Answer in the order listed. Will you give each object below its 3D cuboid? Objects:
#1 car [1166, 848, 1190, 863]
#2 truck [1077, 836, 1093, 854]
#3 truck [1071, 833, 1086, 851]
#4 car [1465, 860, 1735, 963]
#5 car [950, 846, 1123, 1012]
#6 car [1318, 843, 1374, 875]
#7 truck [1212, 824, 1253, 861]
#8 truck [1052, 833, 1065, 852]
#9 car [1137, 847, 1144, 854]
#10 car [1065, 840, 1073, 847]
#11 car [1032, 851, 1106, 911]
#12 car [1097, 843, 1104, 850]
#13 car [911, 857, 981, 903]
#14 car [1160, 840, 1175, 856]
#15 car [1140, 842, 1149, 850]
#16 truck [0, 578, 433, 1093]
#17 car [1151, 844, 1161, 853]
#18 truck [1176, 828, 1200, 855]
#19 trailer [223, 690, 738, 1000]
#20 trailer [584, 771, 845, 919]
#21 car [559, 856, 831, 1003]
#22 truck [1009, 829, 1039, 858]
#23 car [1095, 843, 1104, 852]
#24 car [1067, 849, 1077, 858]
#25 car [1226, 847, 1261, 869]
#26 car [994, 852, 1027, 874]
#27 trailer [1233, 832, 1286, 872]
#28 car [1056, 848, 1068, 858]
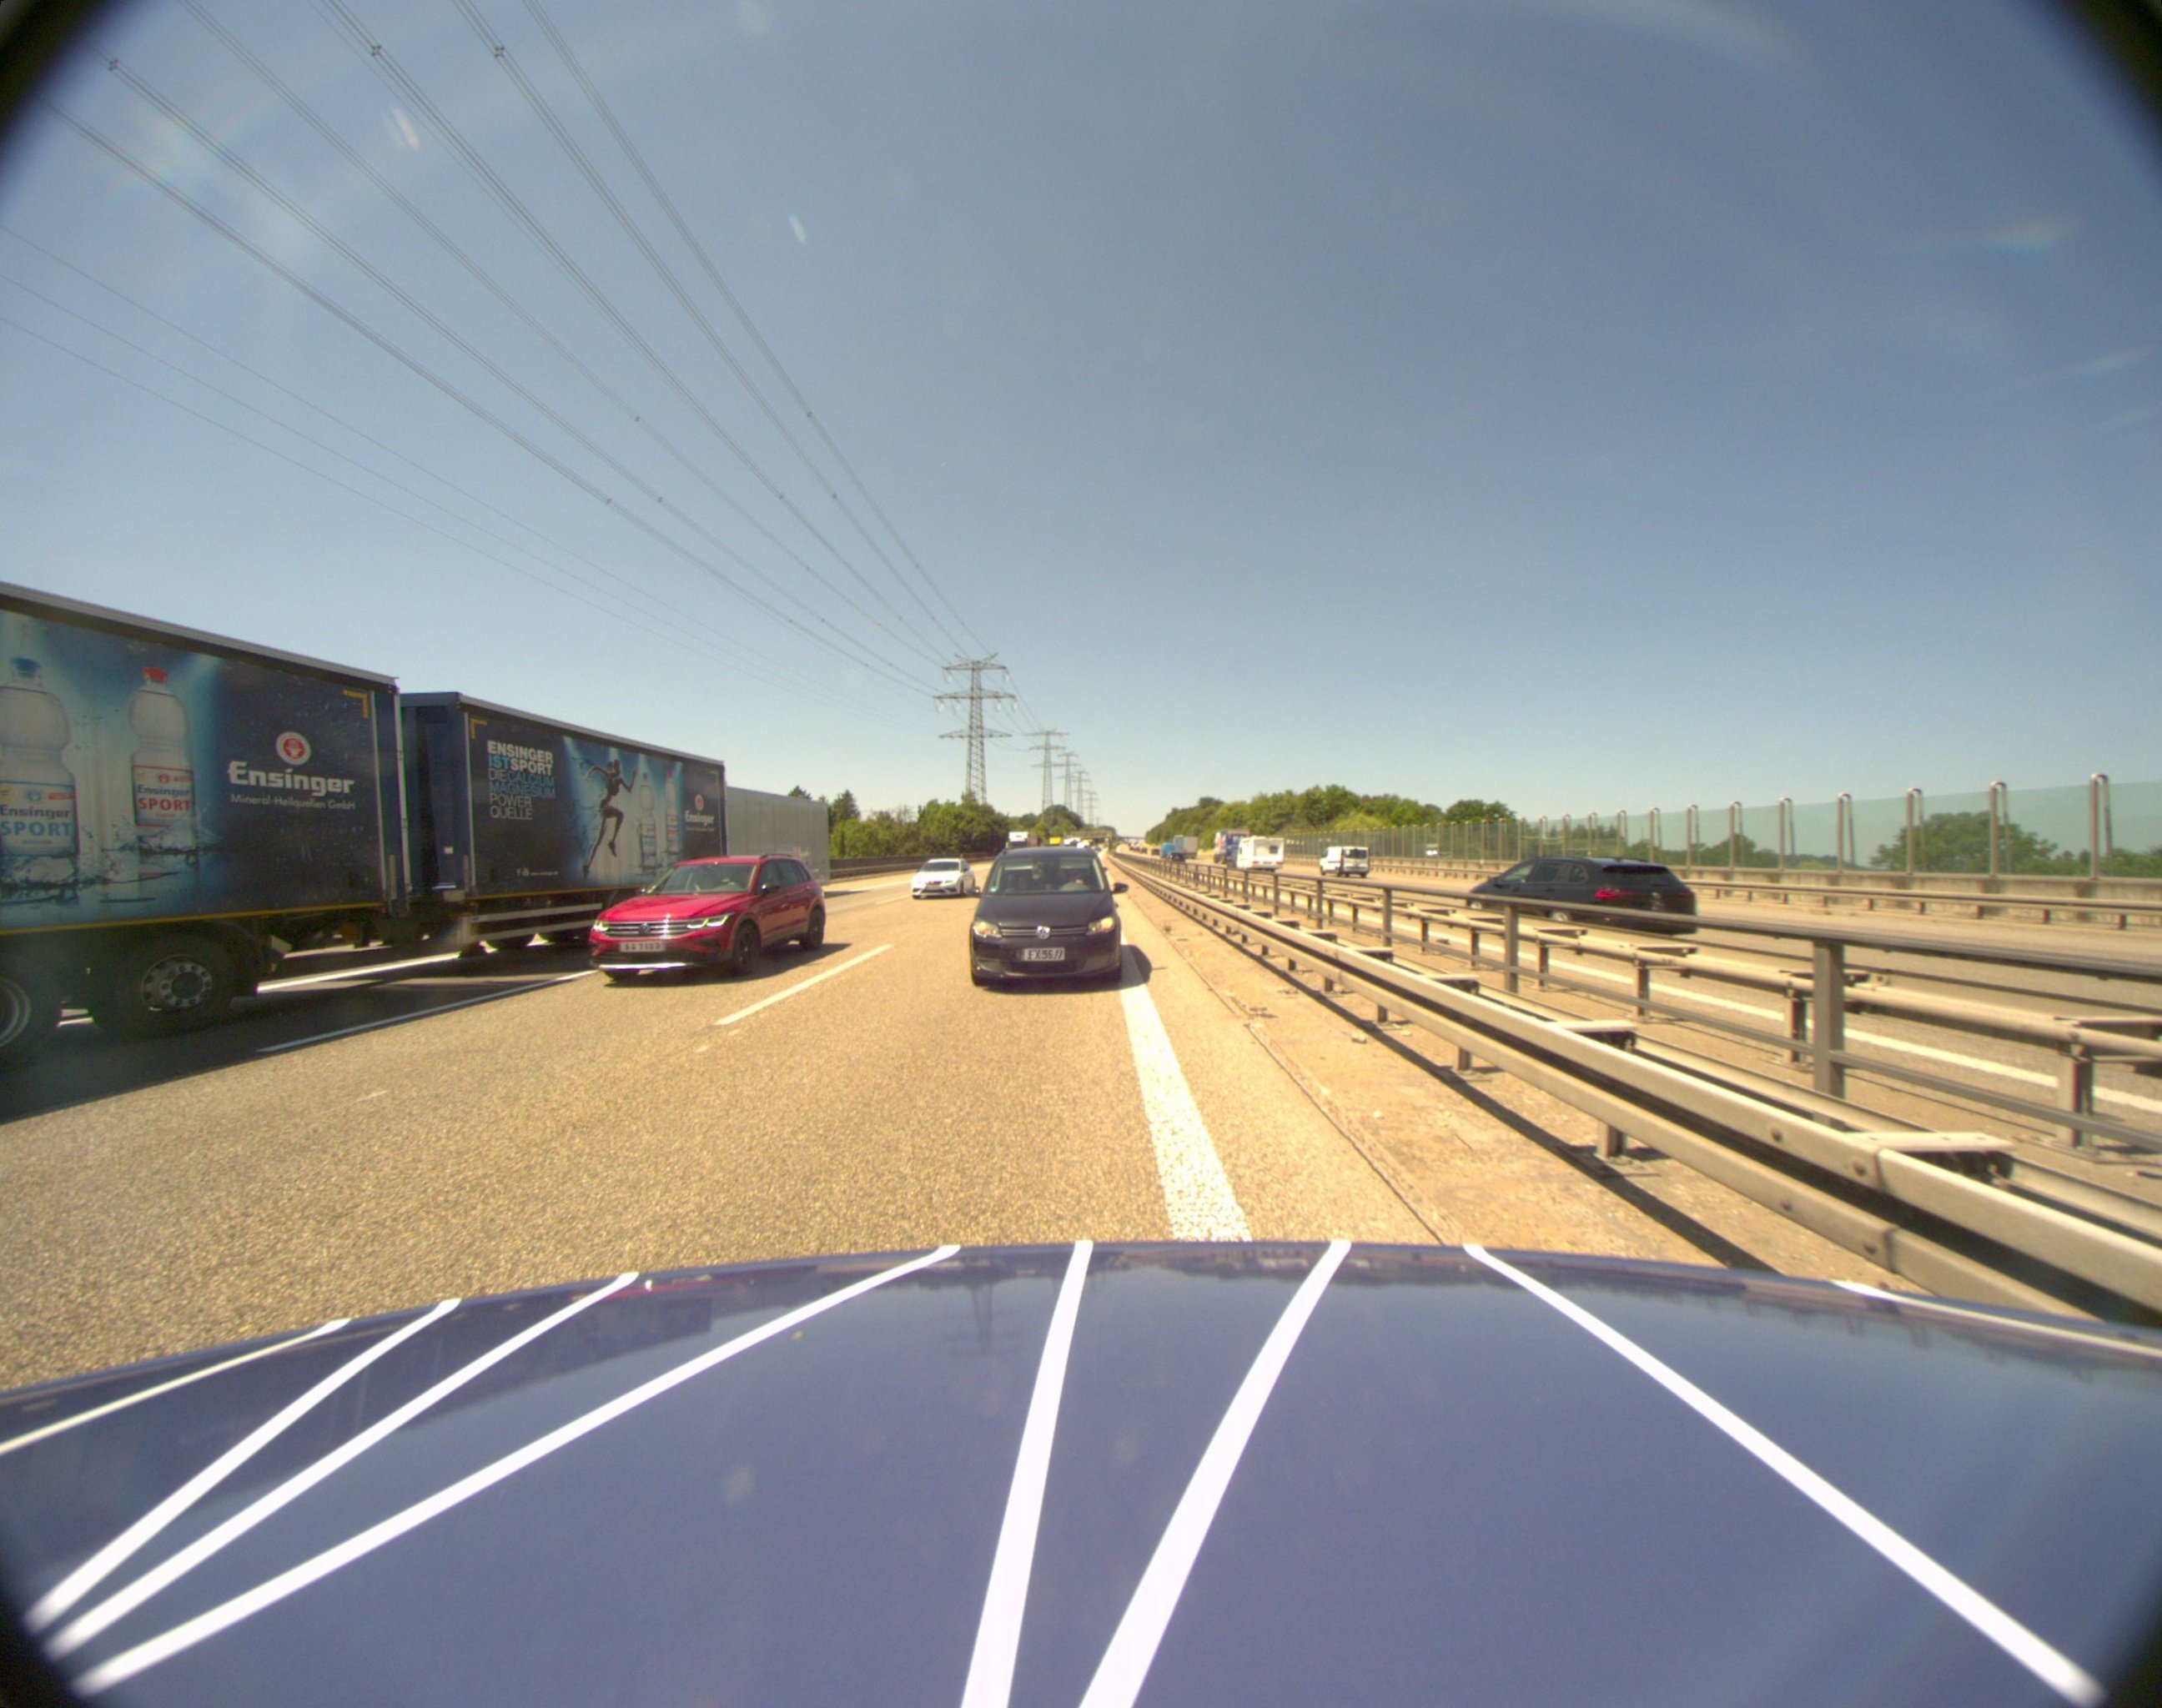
[{"bbox_3d":[9.508,0.143,75.065,1.853,1.386,3.999,2,1,0],"label":"car"},{"bbox_3d":[0.599,-1.294,112.842,2.284,2.479,5.860,-2,1,1],"label":"truck"},{"bbox_3d":[-0.521,-2.806,175.146,2.980,3.832,10.560,-2,1,1],"label":"truck"},{"bbox_3d":[8.578,0.853,13.118,1.772,1.411,4.266,0,1,1],"label":"car"},{"bbox_3d":[-0.456,0.761,9.925,1.740,1.652,3.999,-2,1,0],"label":"car"},{"bbox_3d":[17.079,0.289,49.295,2.039,1.972,4.489,2,1,1],"label":"car"},{"bbox_3d":[17.719,-1.328,89.559,2.876,4.062,9.988,2,1,1],"label":"truck"},{"bbox_3d":[-5.068,-2.588,172.316,2.346,4.058,8.278,-2,1,1],"label":"truck"},{"bbox_3d":[19.015,-1.167,244.177,1.986,2.058,4.239,1,1,0],"label":"car"},{"bbox_3d":[-3.449,-2.847,214.063,1.998,2.002,4.000,0,1,1],"label":"car"},{"bbox_3d":[-0.291,0.688,21.689,1.845,1.495,4.377,-1,1,0],"label":"car"},{"bbox_3d":[6.399,-2.428,249.661,1.998,2.002,3.999,-2,1,1],"label":"car"},{"bbox_3d":[-4.972,0.920,28.550,1.843,1.481,4.072,-2,1,0],"label":"car"},{"bbox_3d":[14.287,-1.040,125.964,1.986,2.576,5.036,1,1,0],"label":"car"},{"bbox_3d":[17.132,-2.123,204.415,1.986,2.058,4.239,1,1,0],"label":"car"},{"bbox_3d":[-9.751,-0.103,4.562,2.529,4.043,10.446,-2,1,0],"label":"truck"},{"bbox_3d":[17.097,-1.209,173.893,1.986,2.058,4.239,1,1,0],"label":"car"},{"bbox_3d":[18.662,-2.218,133.143,2.876,4.514,9.988,2,1,1],"label":"truck"},{"bbox_3d":[-9.675,-0.144,14.066,2.572,3.922,8.478,-2,1,0],"label":"trailer"},{"bbox_3d":[-12.472,-0.327,28.290,2.541,4.096,13.772,-2,1,1],"label":"trailer"},{"bbox_3d":[-5.286,0.905,11.149,1.779,1.652,4.224,-1,1,0],"label":"car"},{"bbox_3d":[-7.456,-1.357,100.746,2.985,3.539,10.966,-2,1,0],"label":"truck"},{"bbox_3d":[4.370,-1.633,176.664,1.998,2.002,3.999,-2,1,1],"label":"car"},{"bbox_3d":[-1.614,-0.112,139.891,1.763,1.495,4.094,-1,1,0],"label":"car"},{"bbox_3d":[12.862,0.275,60.374,1.806,1.632,4.268,1,1,0],"label":"car"},{"bbox_3d":[-4.911,0.626,53.503,1.739,1.437,4.210,-1,1,2],"label":"car"},{"bbox_3d":[12.821,-0.172,55.031,2.322,2.690,6.360,1,1,0],"label":"trailer"},{"bbox_3d":[-2.841,-0.206,113.954,1.763,1.495,4.093,-1,1,-1],"label":"car"}]
